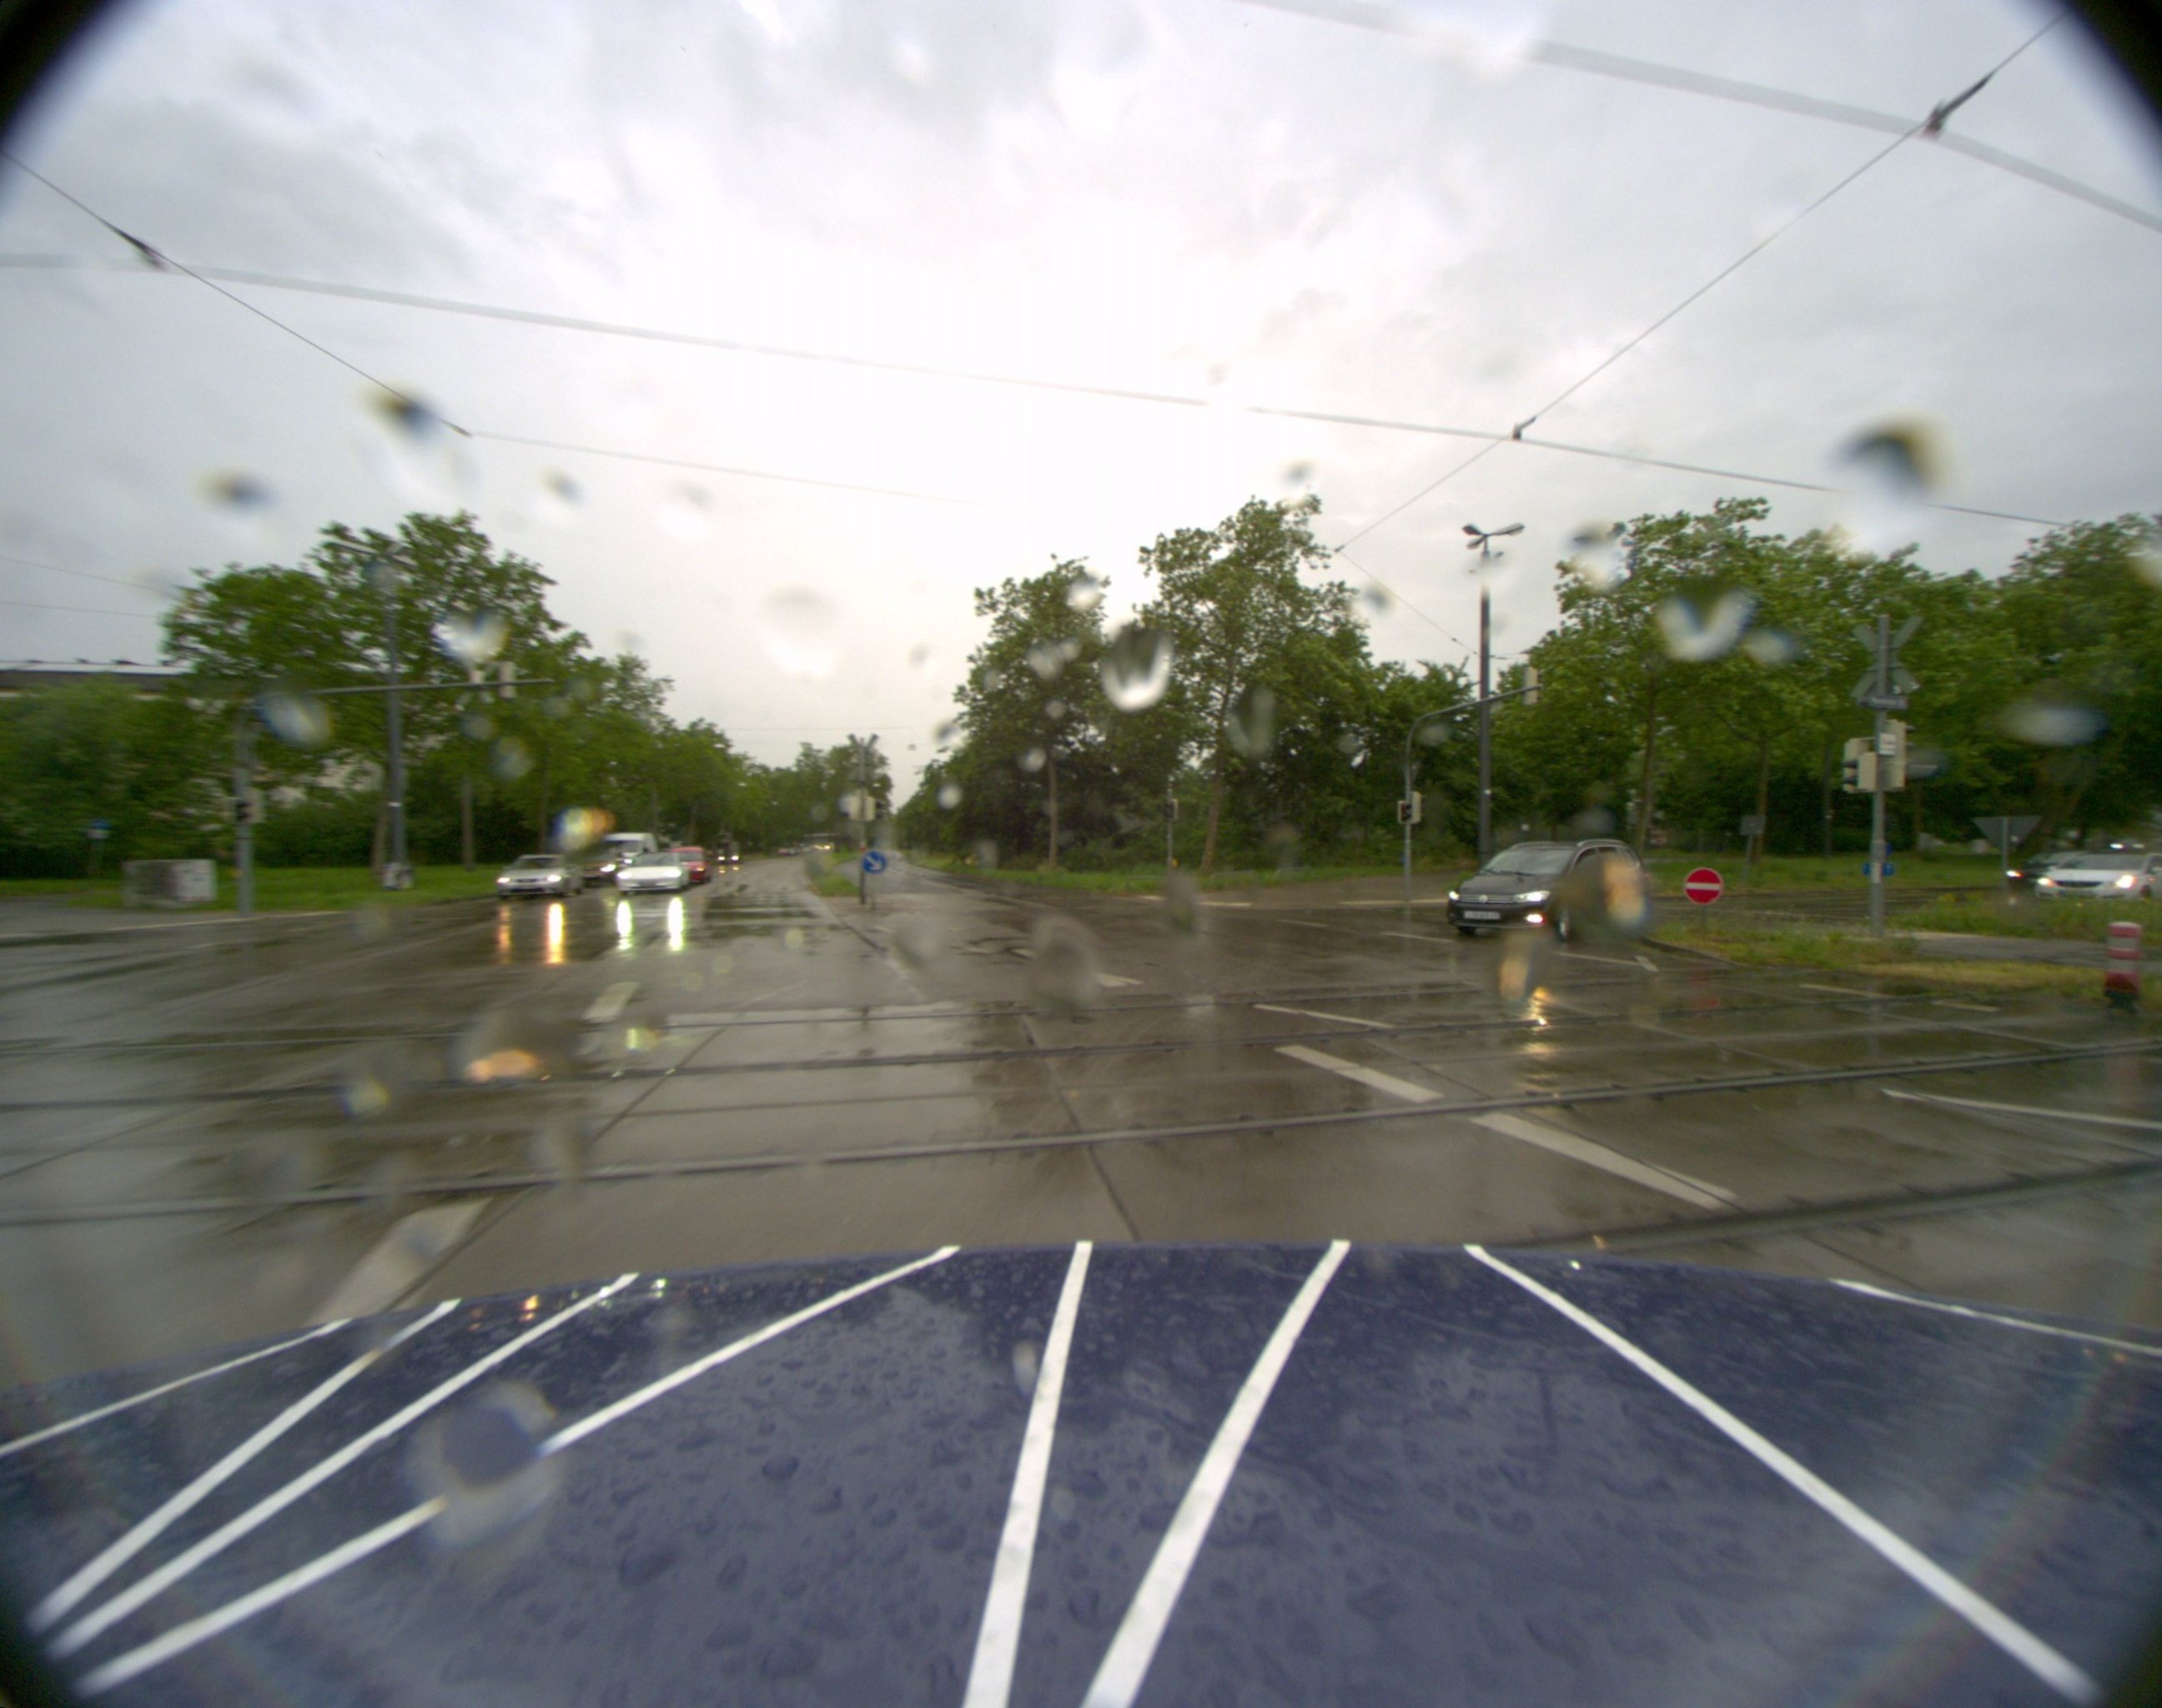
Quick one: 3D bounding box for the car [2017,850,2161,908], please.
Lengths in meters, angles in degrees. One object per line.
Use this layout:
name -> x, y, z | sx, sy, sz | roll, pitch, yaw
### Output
car -> 26.748, 0.602, 19.864 | 4.002, 1.355, 1.786 | -1, 0, -22

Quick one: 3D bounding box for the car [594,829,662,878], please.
car -> -23.317, -0.012, 39.349 | 2.002, 2.378, 5.613 | -1, 0, -21

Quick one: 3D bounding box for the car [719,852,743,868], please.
car -> -35.383, 0.599, 76.863 | 2.002, 1.630, 3.992 | -1, 0, -23

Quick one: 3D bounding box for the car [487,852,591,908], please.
car -> -18.018, 0.817, 25.490 | 1.937, 1.681, 4.399 | -1, 0, -24

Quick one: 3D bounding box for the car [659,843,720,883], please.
car -> -17.019, 0.381, 33.235 | 1.792, 1.597, 4.611 | -1, 0, -20

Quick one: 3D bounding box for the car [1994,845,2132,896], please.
car -> 33.372, 0.520, 25.835 | 3.813, 1.608, 1.870 | -1, 0, -21

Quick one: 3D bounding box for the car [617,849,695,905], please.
car -> -14.993, 0.756, 27.021 | 1.937, 1.818, 4.599 | -1, 0, -24

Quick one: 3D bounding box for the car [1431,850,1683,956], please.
car -> 8.634, 0.764, 13.710 | 4.532, 1.592, 1.863 | -1, 0, -28

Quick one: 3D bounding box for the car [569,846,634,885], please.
car -> -20.843, 0.474, 33.181 | 1.793, 1.597, 4.061 | -1, 0, -24
